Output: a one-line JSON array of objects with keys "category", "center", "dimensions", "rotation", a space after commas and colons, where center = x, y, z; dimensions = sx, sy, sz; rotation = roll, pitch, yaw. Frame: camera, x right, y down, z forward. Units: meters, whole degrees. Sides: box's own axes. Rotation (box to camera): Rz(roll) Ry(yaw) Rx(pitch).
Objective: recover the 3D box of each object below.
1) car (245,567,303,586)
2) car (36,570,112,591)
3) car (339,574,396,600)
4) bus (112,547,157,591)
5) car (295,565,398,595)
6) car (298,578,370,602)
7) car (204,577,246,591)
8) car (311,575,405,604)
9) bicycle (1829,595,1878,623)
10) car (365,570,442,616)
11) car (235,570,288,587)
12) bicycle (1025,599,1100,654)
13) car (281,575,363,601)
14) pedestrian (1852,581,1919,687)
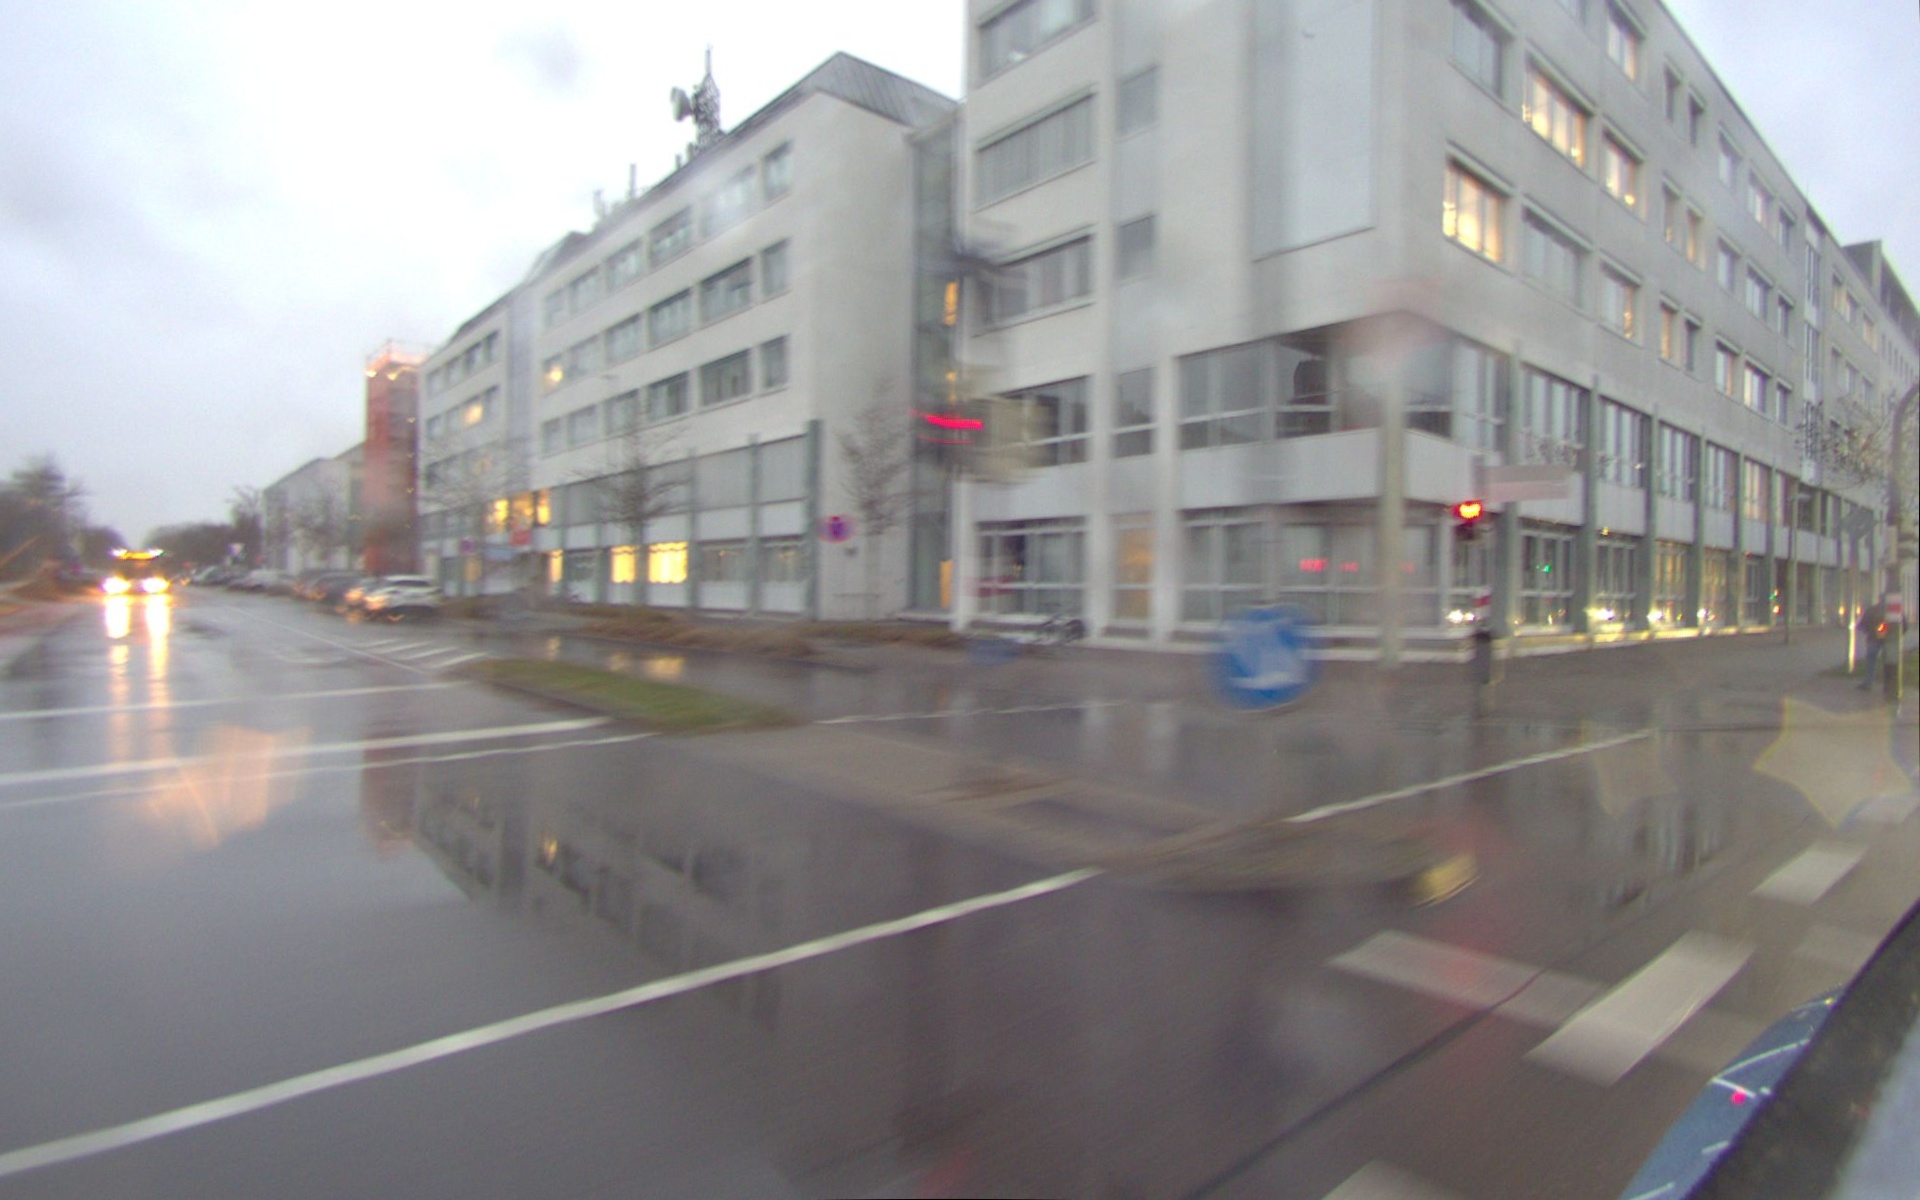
[{"category": "car", "center": [-56.285, -1.907, 83.069], "dimensions": [3.796, 1.472, 1.670], "rotation": [-1, 0, -38]}, {"category": "car", "center": [-64.229, -1.405, 73.448], "dimensions": [3.925, 1.498, 1.835], "rotation": [-1, 0, -36]}, {"category": "car", "center": [-28.795, -0.611, 49.166], "dimensions": [1.515, 1.199, 3.711], "rotation": [-1, 0, -45]}, {"category": "bus", "center": [-57.413, -2.074, 70.392], "dimensions": [2.256, 2.747, 8.137], "rotation": [-1, 0, -39]}, {"category": "car", "center": [-34.069, -1.098, 56.226], "dimensions": [4.726, 1.575, 1.771], "rotation": [-1, 0, -38]}, {"category": "car", "center": [-37.117, -0.608, 60.022], "dimensions": [3.436, 1.330, 1.703], "rotation": [-1, 0, -40]}, {"category": "car", "center": [-86.212, -1.869, 118.727], "dimensions": [3.930, 1.608, 1.997], "rotation": [-1, 0, -41]}, {"category": "car", "center": [-31.747, -0.548, 53.420], "dimensions": [4.061, 1.439, 1.770], "rotation": [-1, 0, -40]}, {"category": "bicycle", "center": [43.697, 0.445, 49.476], "dimensions": [2.406, 1.288, 0.827], "rotation": [1, 3, -25]}, {"category": "car", "center": [-21.060, -0.261, 38.252], "dimensions": [1.965, 1.657, 3.275], "rotation": [-1, 0, -40]}, {"category": "car", "center": [-62.408, -1.902, 90.479], "dimensions": [3.796, 1.472, 1.670], "rotation": [-1, 0, -38]}, {"category": "bicycle", "center": [2.240, 0.553, 21.899], "dimensions": [1.842, 1.118, 0.471], "rotation": [0, 1, -41]}, {"category": "car", "center": [-38.737, -0.729, 61.476], "dimensions": [4.051, 1.548, 1.604], "rotation": [-1, 0, -41]}, {"category": "pedestrian", "center": [16.670, 0.598, 17.954], "dimensions": [0.843, 1.771, 0.800], "rotation": [3, 3, -13]}]
